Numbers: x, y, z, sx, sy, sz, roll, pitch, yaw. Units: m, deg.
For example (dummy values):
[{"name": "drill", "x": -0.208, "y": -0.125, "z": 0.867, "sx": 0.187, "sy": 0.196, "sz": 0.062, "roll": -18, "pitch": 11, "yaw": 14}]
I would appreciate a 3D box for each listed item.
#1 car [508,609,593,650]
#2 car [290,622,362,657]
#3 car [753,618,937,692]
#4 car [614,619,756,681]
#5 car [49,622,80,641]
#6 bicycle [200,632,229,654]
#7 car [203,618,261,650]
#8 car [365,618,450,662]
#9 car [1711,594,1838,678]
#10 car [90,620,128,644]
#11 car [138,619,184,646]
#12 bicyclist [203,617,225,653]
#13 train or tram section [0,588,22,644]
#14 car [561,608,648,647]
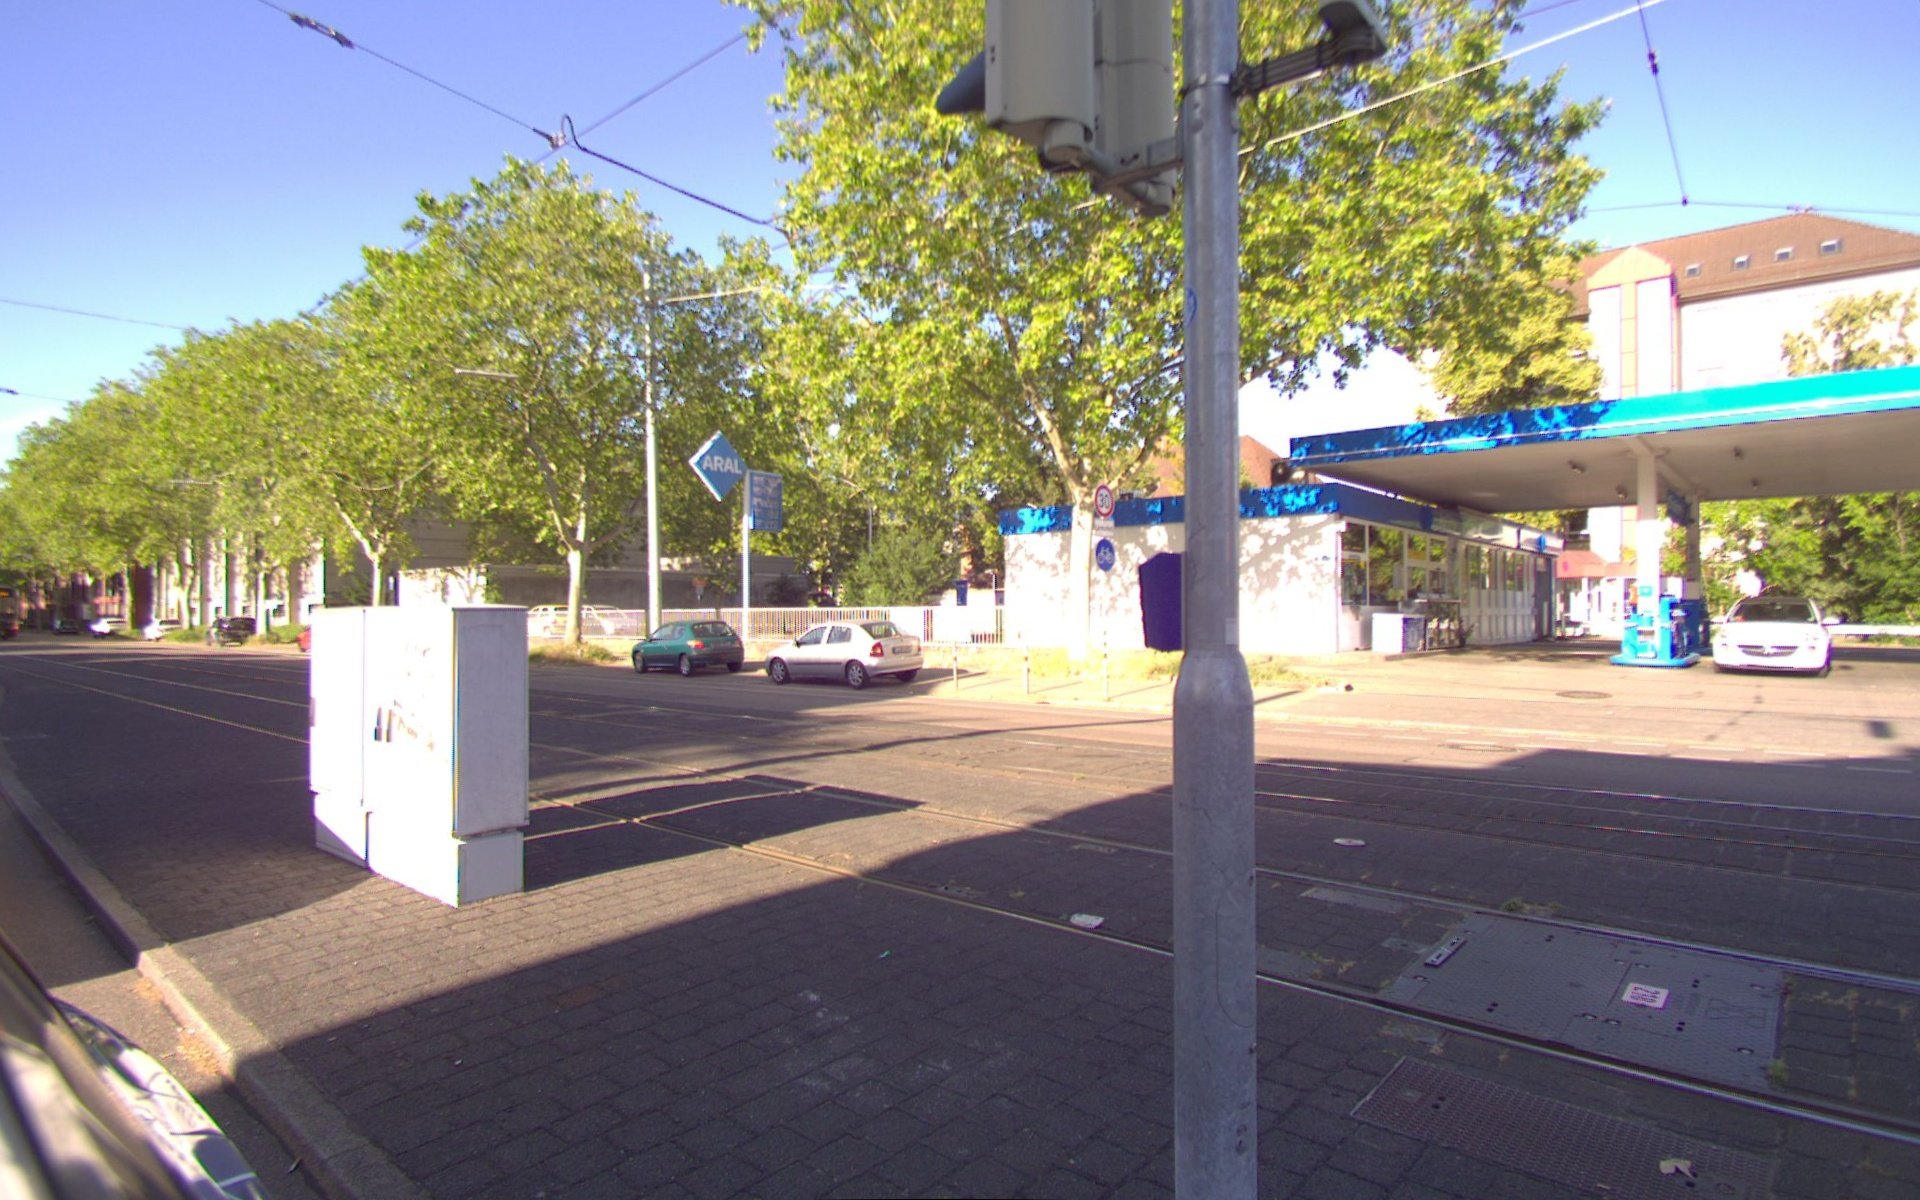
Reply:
[{"name": "car", "x": -17.137, "y": 1.198, "z": 42.280, "sx": 4.002, "sy": 1.545, "sz": 1.820, "roll": -1, "pitch": 1, "yaw": 45}, {"name": "car", "x": -28.968, "y": 1.776, "z": 46.180, "sx": 4.001, "sy": 1.418, "sz": 1.821, "roll": -1, "pitch": 1, "yaw": 44}, {"name": "car", "x": -2.626, "y": 1.179, "z": 22.644, "sx": 3.997, "sy": 1.418, "sz": 1.823, "roll": -1, "pitch": 1, "yaw": 40}, {"name": "car", "x": -7.433, "y": 1.277, "z": 27.134, "sx": 4.138, "sy": 1.418, "sz": 1.820, "roll": -1, "pitch": 1, "yaw": 45}, {"name": "car", "x": -85.041, "y": 2.950, "z": 96.103, "sx": 4.098, "sy": 1.686, "sz": 1.821, "roll": -1, "pitch": 1, "yaw": 44}, {"name": "bicycle", "x": -39.349, "y": 2.235, "z": 53.403, "sx": 2.530, "sy": 1.129, "sz": 0.646, "roll": -1, "pitch": -1, "yaw": 39}, {"name": "car", "x": -40.659, "y": 1.888, "z": 56.482, "sx": 4.098, "sy": 1.628, "sz": 1.821, "roll": -1, "pitch": 1, "yaw": 44}, {"name": "car", "x": -21.968, "y": 1.543, "z": 40.187, "sx": 4.002, "sy": 1.545, "sz": 1.820, "roll": -1, "pitch": 1, "yaw": 45}, {"name": "car", "x": 16.028, "y": 0.663, "z": 19.882, "sx": 1.780, "sy": 1.475, "sz": 3.946, "roll": -1, "pitch": -1, "yaw": 40}, {"name": "car", "x": -66.945, "y": 2.491, "z": 79.579, "sx": 4.098, "sy": 1.686, "sz": 1.821, "roll": -1, "pitch": 1, "yaw": 44}, {"name": "car", "x": -53.842, "y": 2.163, "z": 68.207, "sx": 4.098, "sy": 1.686, "sz": 1.821, "roll": -1, "pitch": 1, "yaw": 44}, {"name": "bicyclist", "x": -39.391, "y": 1.822, "z": 53.436, "sx": 1.069, "sy": 1.878, "sz": 0.712, "roll": -1, "pitch": -2, "yaw": 38}, {"name": "train or tram section", "x": -64.372, "y": 1.071, "z": 66.436, "sx": 10.174, "sy": 3.503, "sz": 2.826, "roll": -1, "pitch": 0, "yaw": 40}, {"name": "car", "x": -15.396, "y": 1.175, "z": 43.772, "sx": 3.999, "sy": 1.545, "sz": 1.822, "roll": -1, "pitch": 1, "yaw": 42}]
